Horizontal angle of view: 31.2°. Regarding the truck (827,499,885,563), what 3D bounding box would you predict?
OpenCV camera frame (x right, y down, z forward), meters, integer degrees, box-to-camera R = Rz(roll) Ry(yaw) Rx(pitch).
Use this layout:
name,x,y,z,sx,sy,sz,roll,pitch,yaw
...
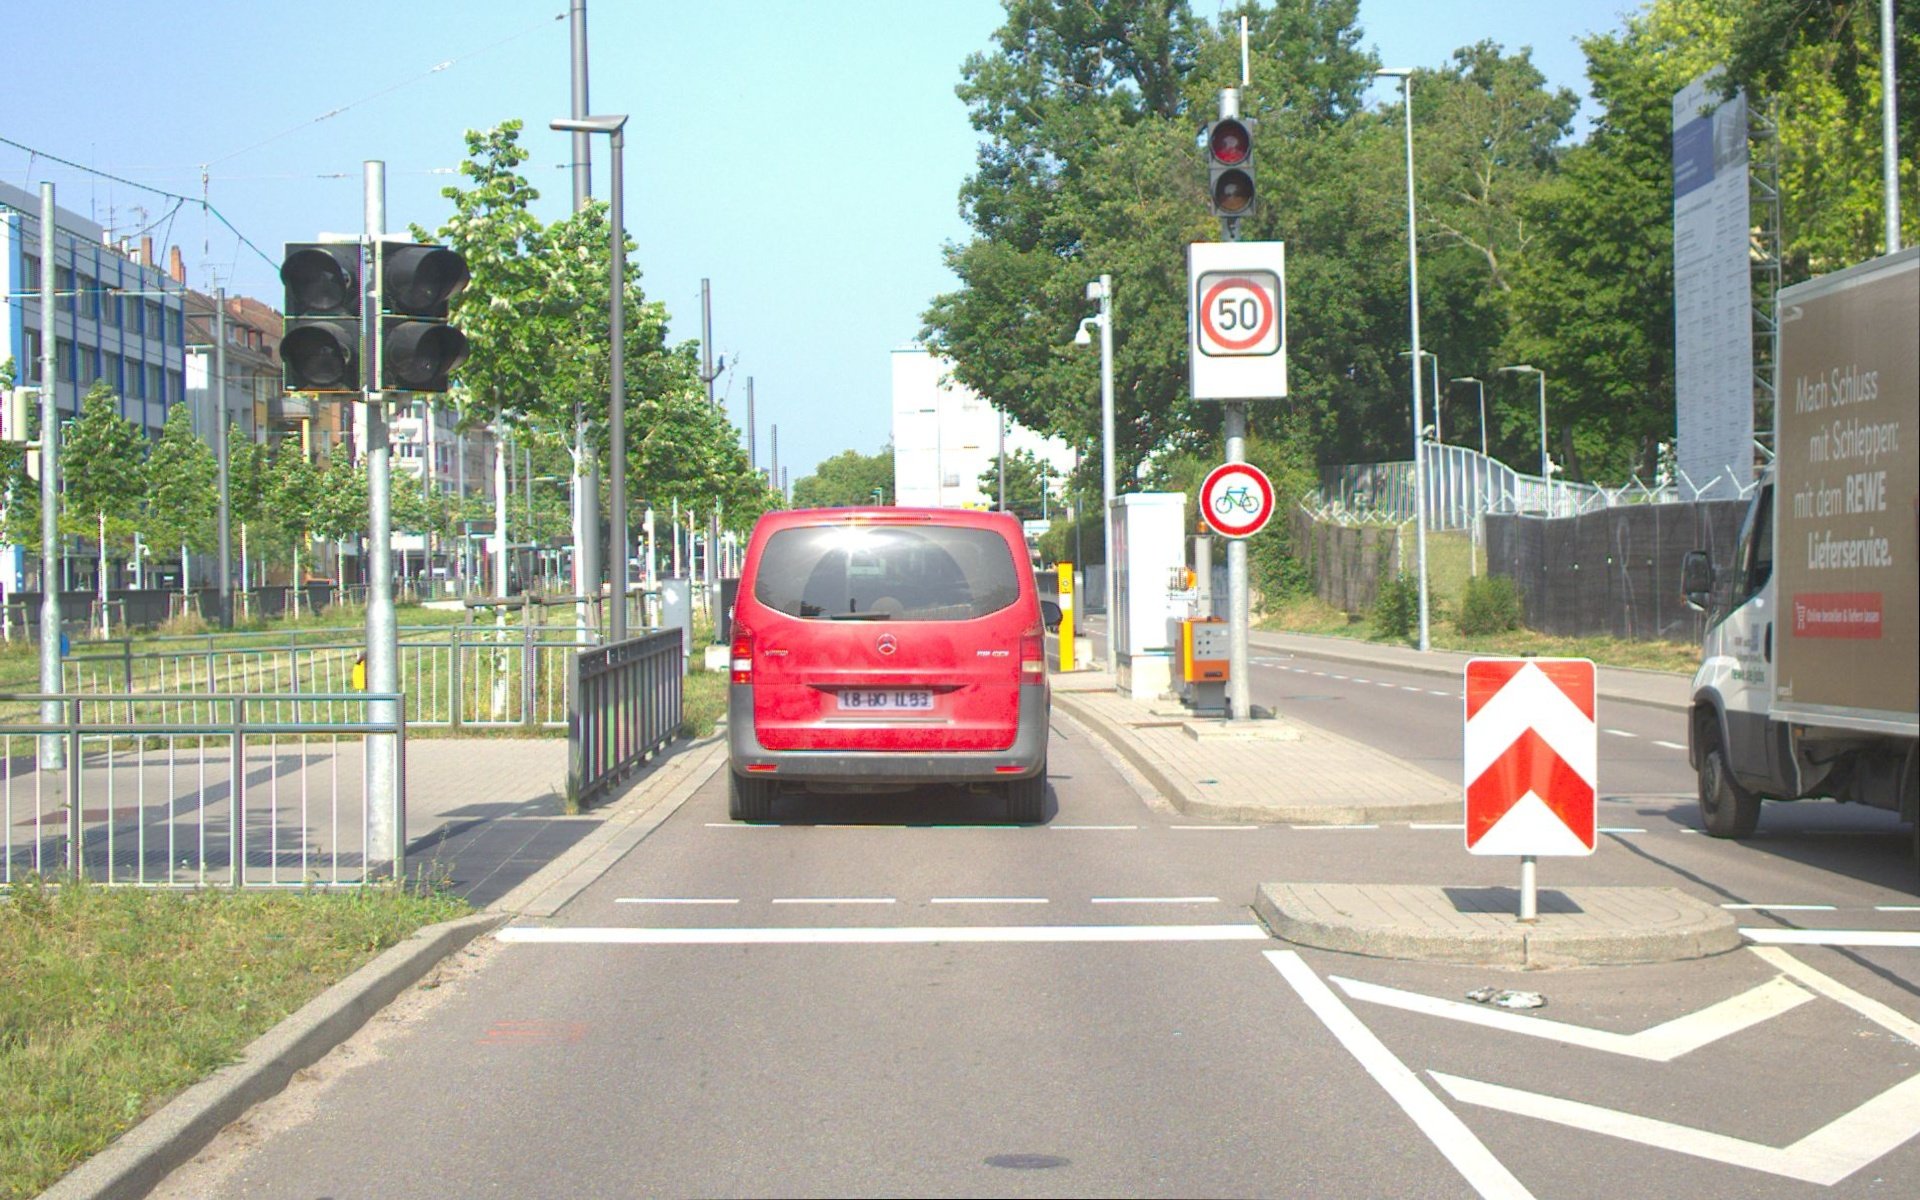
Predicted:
name,x,y,z,sx,sy,sz,roll,pitch,yaw
truck,-6.397,-4.143,209.805,3.390,3.713,10.452,-1,1,-2

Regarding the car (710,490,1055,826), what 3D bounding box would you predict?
name,x,y,z,sx,sy,sz,roll,pitch,yaw
car,-0.457,0.305,21.235,1.901,1.853,4.000,1,1,-1

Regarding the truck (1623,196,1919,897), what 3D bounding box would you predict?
name,x,y,z,sx,sy,sz,roll,pitch,yaw
truck,5.362,-0.221,16.519,2.502,3.050,7.821,1,0,-2
